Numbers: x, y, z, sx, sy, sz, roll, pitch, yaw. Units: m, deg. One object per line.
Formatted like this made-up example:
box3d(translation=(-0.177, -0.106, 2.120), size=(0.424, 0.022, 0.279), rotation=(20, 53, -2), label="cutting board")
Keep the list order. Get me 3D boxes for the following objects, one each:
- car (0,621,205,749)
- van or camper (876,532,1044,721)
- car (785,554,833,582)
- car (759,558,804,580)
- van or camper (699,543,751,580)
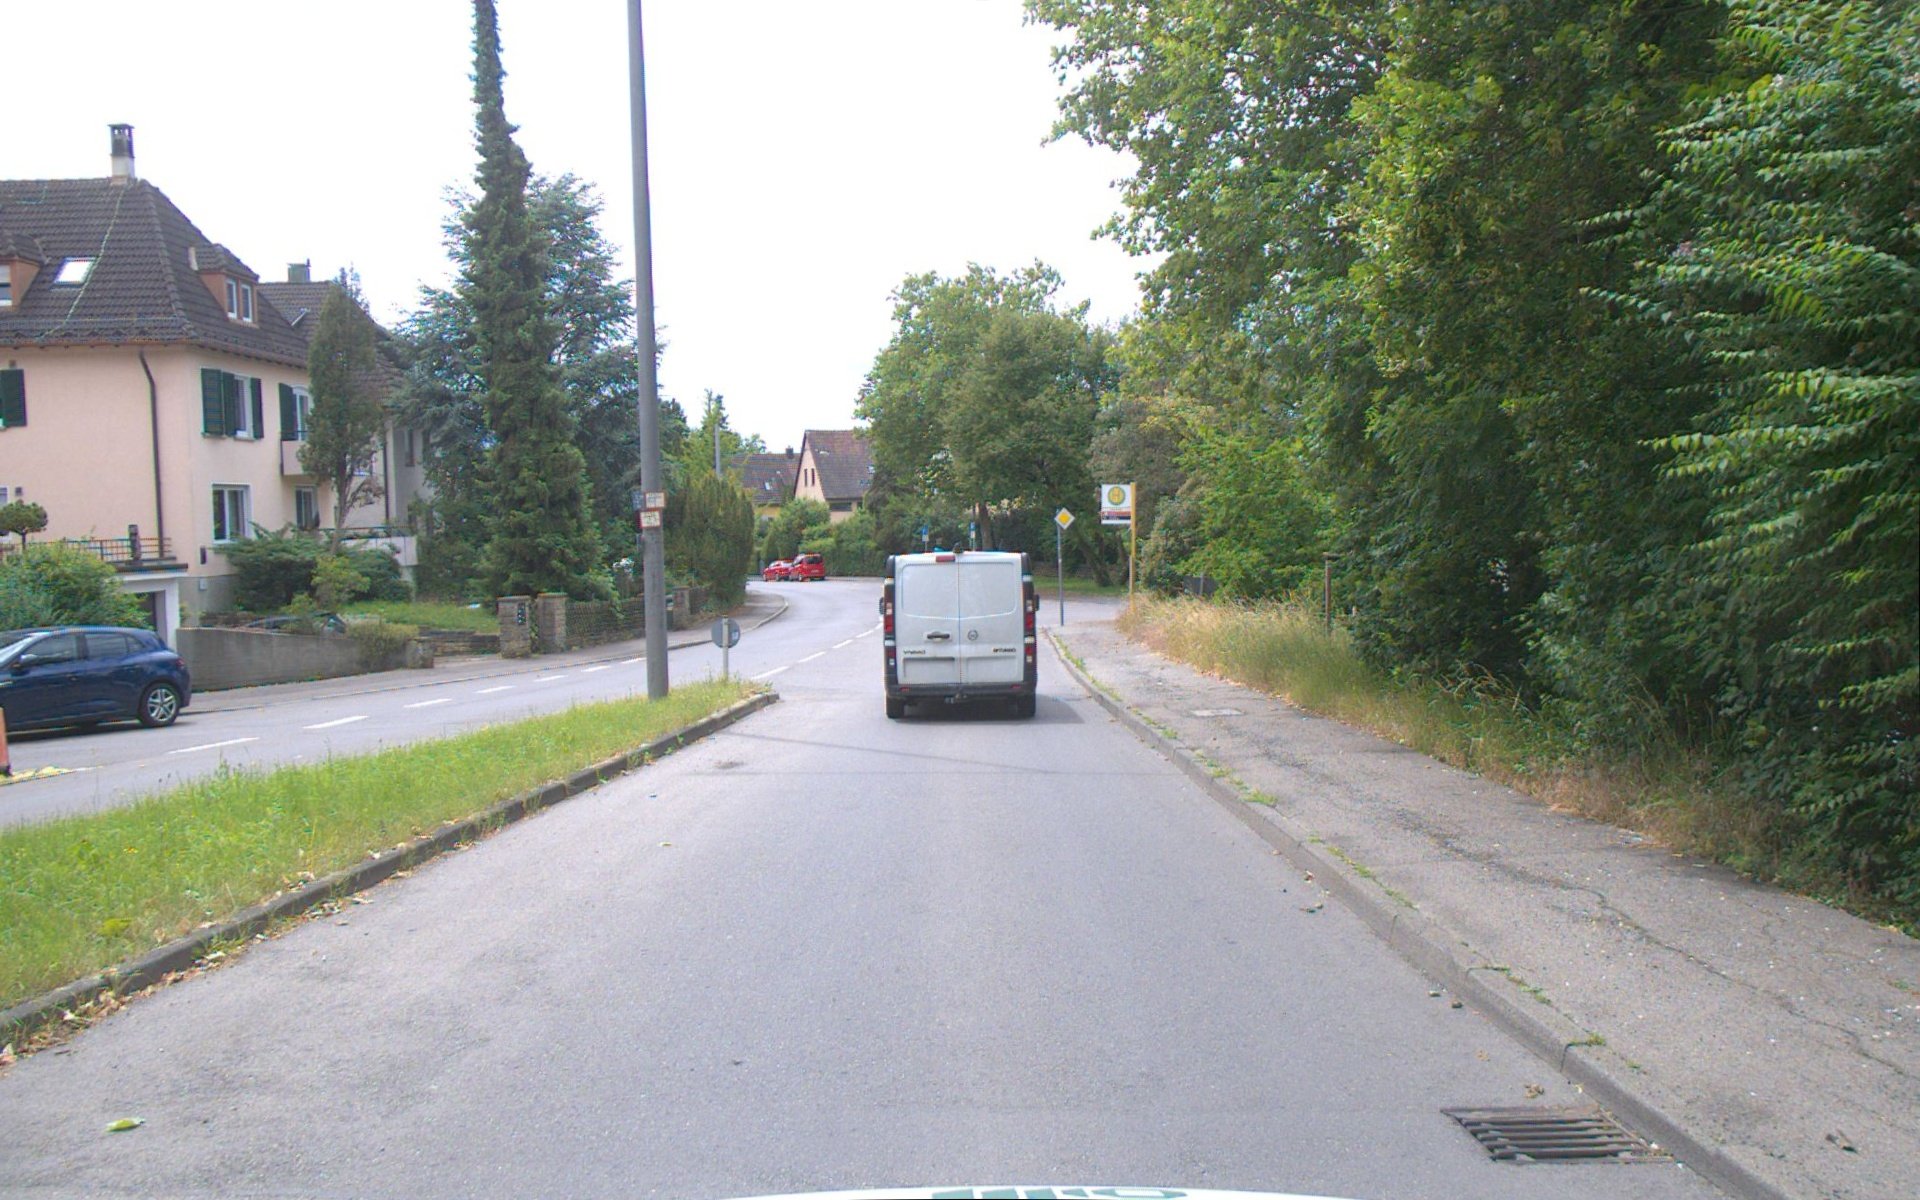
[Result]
box3d(translation=(-12.617, 1.132, 22.296), size=(1.693, 1.499, 4.311), rotation=(-1, 1, 26), label="car")
box3d(translation=(0.065, 0.211, 21.313), size=(1.884, 2.048, 4.832), rotation=(-1, 3, 1), label="van or camper")
box3d(translation=(-10.223, -2.160, 111.534), size=(1.737, 1.828, 4.914), rotation=(-3, 2, -23), label="car")
box3d(translation=(-12.566, -2.190, 116.224), size=(1.692, 1.493, 4.231), rotation=(-3, 2, -27), label="car")
box3d(translation=(-18.294, -2.988, 128.634), size=(2.042, 2.720, 6.275), rotation=(-3, 3, -26), label="van or camper")
